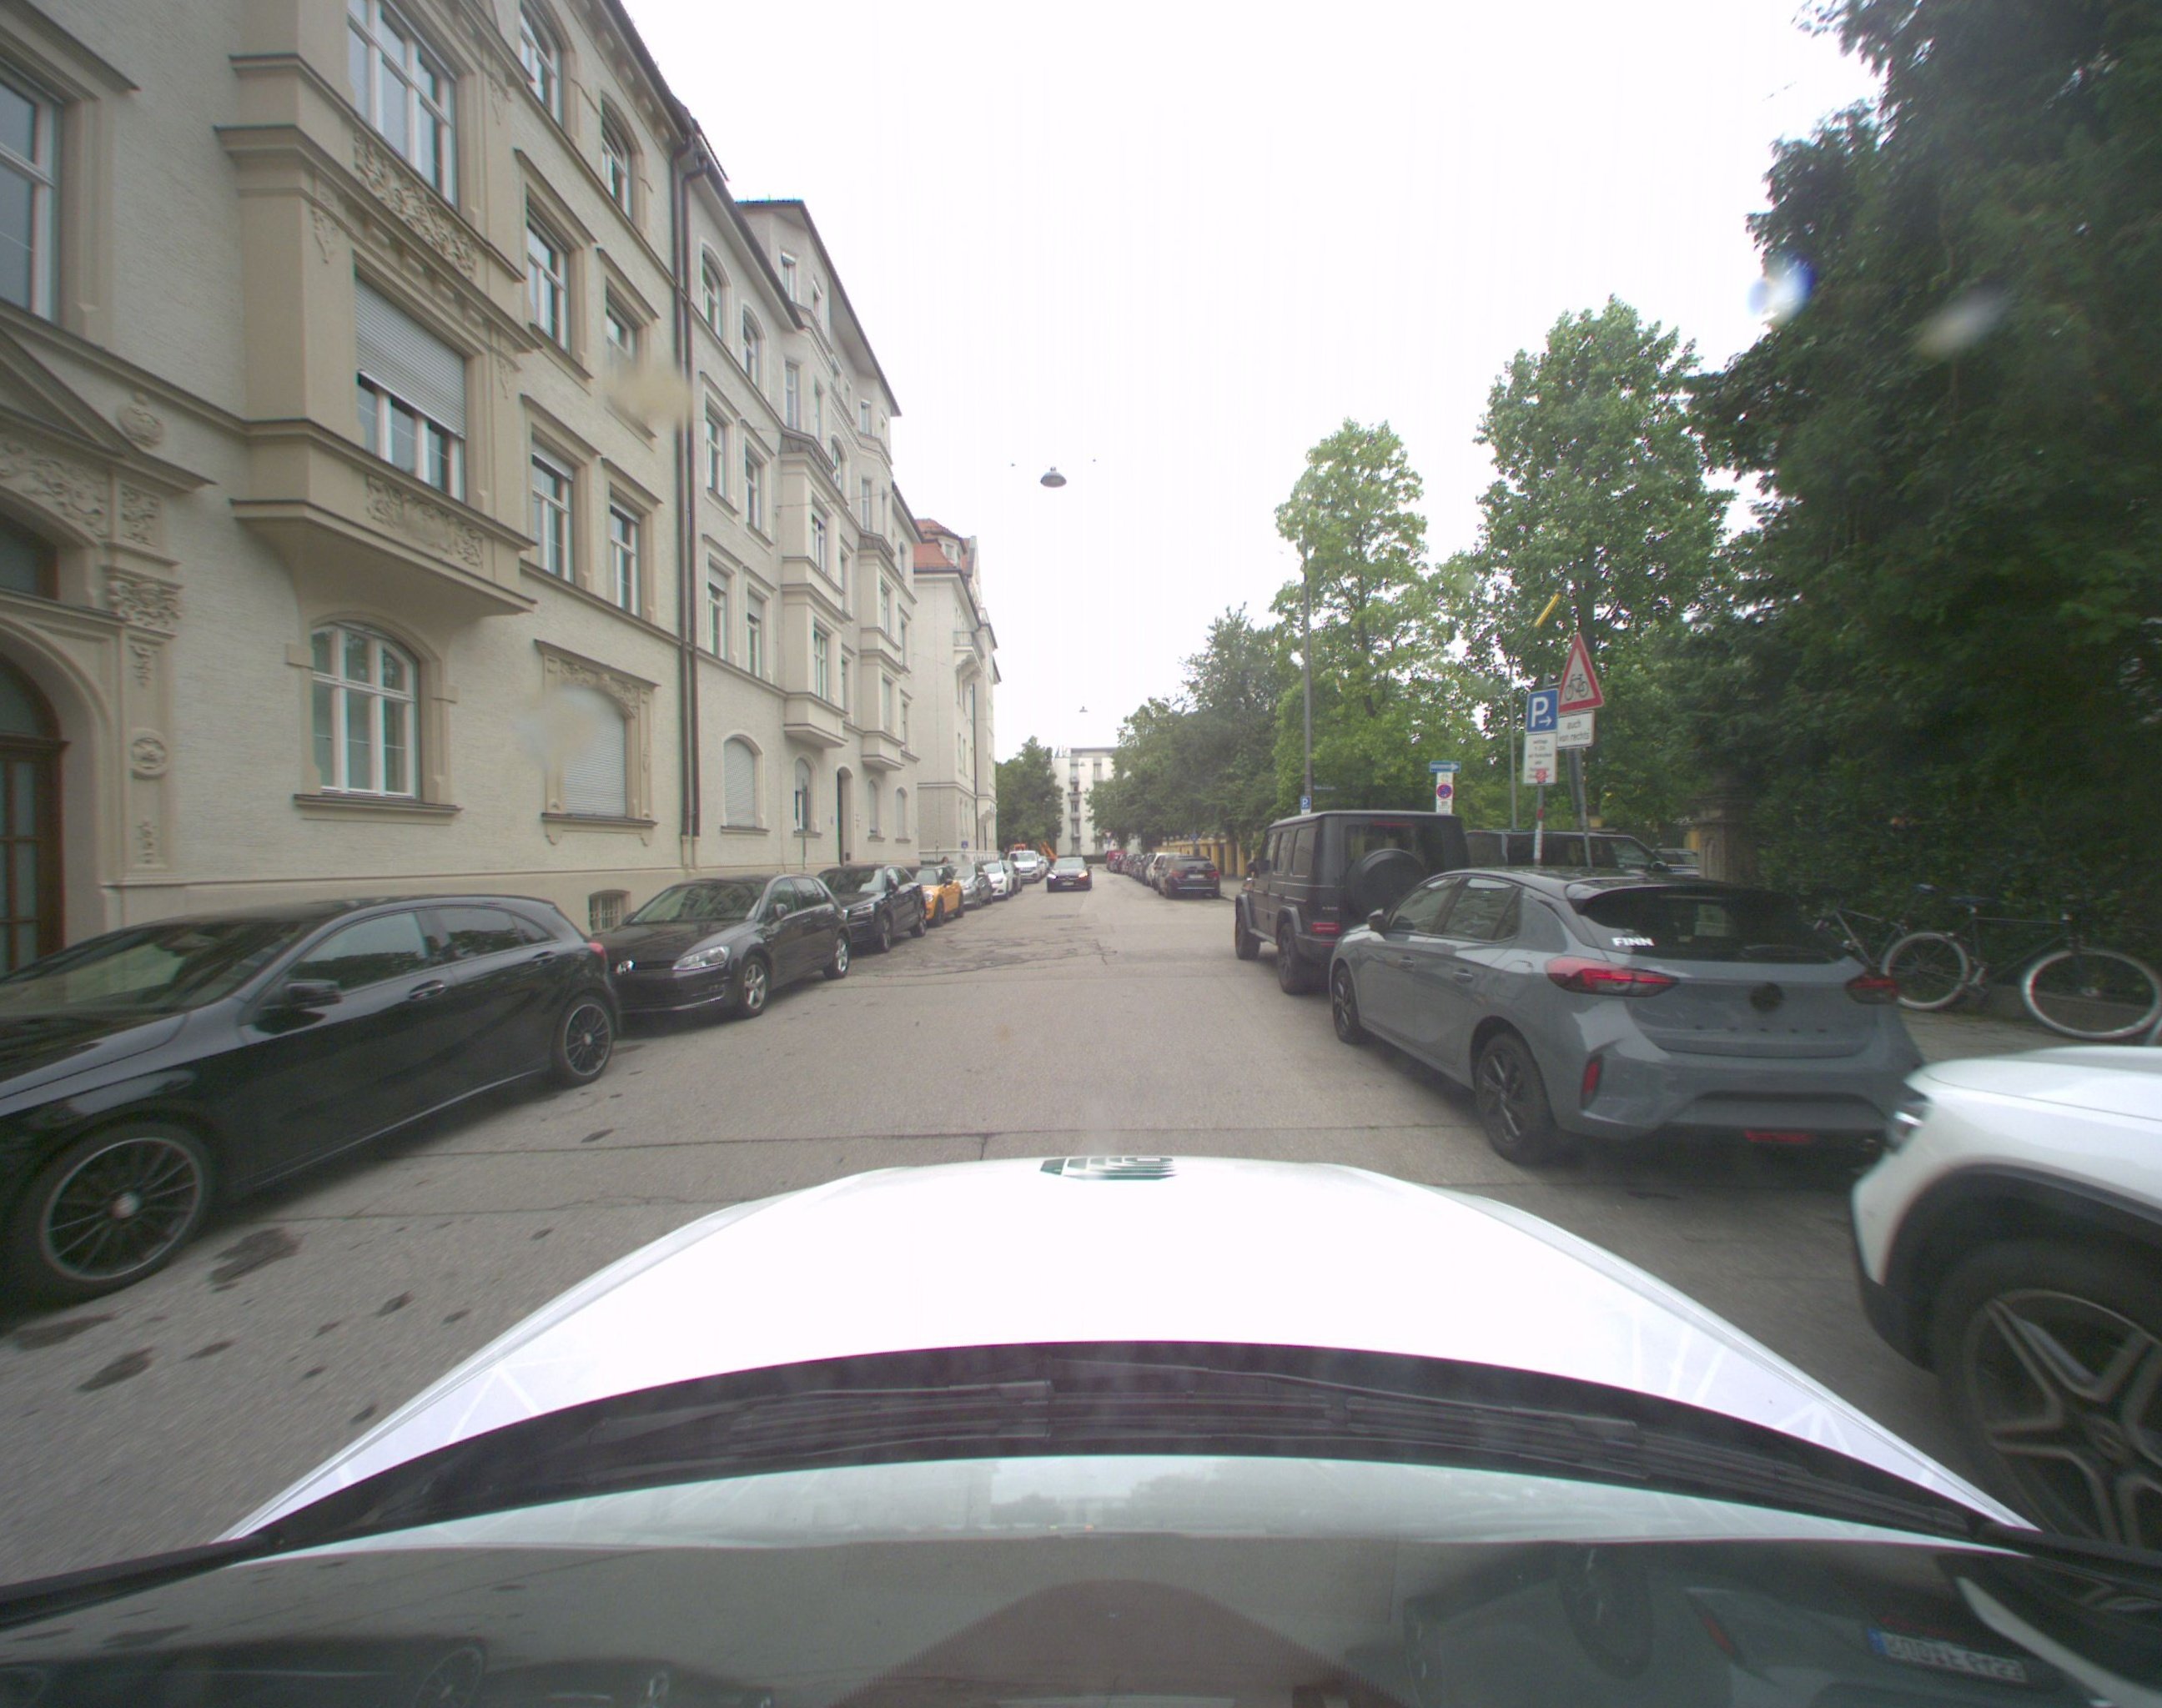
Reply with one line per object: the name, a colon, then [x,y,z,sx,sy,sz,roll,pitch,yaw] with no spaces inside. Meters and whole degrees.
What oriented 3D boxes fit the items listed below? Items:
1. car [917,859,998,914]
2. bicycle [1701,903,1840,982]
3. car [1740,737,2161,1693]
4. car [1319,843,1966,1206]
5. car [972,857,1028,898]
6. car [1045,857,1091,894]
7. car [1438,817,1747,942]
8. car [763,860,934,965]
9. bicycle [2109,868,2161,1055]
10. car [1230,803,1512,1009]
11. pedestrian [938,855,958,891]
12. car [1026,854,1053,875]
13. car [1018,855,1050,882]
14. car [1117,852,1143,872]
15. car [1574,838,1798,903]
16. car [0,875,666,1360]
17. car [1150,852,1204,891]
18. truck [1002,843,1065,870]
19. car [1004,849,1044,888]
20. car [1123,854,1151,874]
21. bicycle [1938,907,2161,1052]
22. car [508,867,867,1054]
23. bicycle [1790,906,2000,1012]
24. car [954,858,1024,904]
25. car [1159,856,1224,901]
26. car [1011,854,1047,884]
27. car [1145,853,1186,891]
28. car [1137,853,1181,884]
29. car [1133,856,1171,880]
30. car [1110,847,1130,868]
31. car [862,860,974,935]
car: [-3.790,0.956,25.678,1.719,1.499,3.933,-3,0,2]
bicycle: [7.093,0.887,8.434,0.510,0.683,1.124,-2,0,3]
car: [2.813,0.673,0.305,1.716,1.769,4.416,1,0,3]
car: [2.931,0.735,5.284,1.717,1.519,3.630,1,0,0]
car: [-3.453,0.979,35.389,1.830,1.499,4.275,-4,0,1]
car: [-0.530,0.900,36.043,1.868,1.428,4.408,-2,0,0]
car: [9.156,0.393,14.792,4.521,1.950,1.901,-2,2,-5]
car: [-4.061,0.945,14.971,1.746,1.499,4.021,-4,0,2]
bicycle: [6.774,0.637,4.441,0.514,1.094,1.347,-2,0,-16]
car: [3.176,0.451,10.064,1.943,1.954,4.668,0,1,1]
pedestrian: [-6.213,0.876,37.952,0.790,1.679,0.700,-2,0,-2]
car: [-3.654,0.906,72.757,2.009,1.634,4.413,-4,0,0]
car: [-3.466,1.052,61.025,2.009,1.726,4.274,-4,0,0]
car: [3.967,0.659,66.691,1.833,1.519,3.945,0,0,-2]
car: [15.886,0.421,21.520,4.583,1.482,1.920,-2,-1,-4]
car: [-4.441,0.965,4.491,1.827,1.434,4.554,-3,0,1]
car: [3.867,0.682,33.236,1.648,1.519,3.792,0,0,-2]
truck: [-6.279,0.273,107.328,7.690,3.241,2.882,-2,0,-17]
car: [-3.355,0.811,48.933,1.880,2.127,4.706,-4,0,0]
car: [4.267,0.769,62.638,1.833,1.519,3.945,0,0,-2]
bicycle: [6.907,0.815,5.660,0.510,0.781,1.355,-2,0,3]
car: [-4.084,0.990,9.416,1.829,1.435,4.247,-4,0,2]
bicycle: [7.011,0.869,7.099,0.510,0.734,1.355,-2,0,3]
car: [-3.366,0.953,30.566,1.829,1.438,4.277,-4,0,2]
car: [3.741,0.796,28.220,1.831,1.413,4.344,0,0,2]
car: [-3.484,0.958,55.218,2.009,1.771,4.413,-4,0,0]
car: [3.888,0.797,37.967,1.509,1.661,3.673,0,0,0]
car: [4.066,0.761,43.156,1.833,1.551,3.945,0,0,-2]
car: [4.186,0.803,48.726,1.833,1.346,3.945,0,0,-2]
car: [3.760,0.301,78.627,1.828,1.927,4.009,1,1,4]
car: [-3.887,0.985,20.103,1.634,1.499,3.975,-4,0,3]
